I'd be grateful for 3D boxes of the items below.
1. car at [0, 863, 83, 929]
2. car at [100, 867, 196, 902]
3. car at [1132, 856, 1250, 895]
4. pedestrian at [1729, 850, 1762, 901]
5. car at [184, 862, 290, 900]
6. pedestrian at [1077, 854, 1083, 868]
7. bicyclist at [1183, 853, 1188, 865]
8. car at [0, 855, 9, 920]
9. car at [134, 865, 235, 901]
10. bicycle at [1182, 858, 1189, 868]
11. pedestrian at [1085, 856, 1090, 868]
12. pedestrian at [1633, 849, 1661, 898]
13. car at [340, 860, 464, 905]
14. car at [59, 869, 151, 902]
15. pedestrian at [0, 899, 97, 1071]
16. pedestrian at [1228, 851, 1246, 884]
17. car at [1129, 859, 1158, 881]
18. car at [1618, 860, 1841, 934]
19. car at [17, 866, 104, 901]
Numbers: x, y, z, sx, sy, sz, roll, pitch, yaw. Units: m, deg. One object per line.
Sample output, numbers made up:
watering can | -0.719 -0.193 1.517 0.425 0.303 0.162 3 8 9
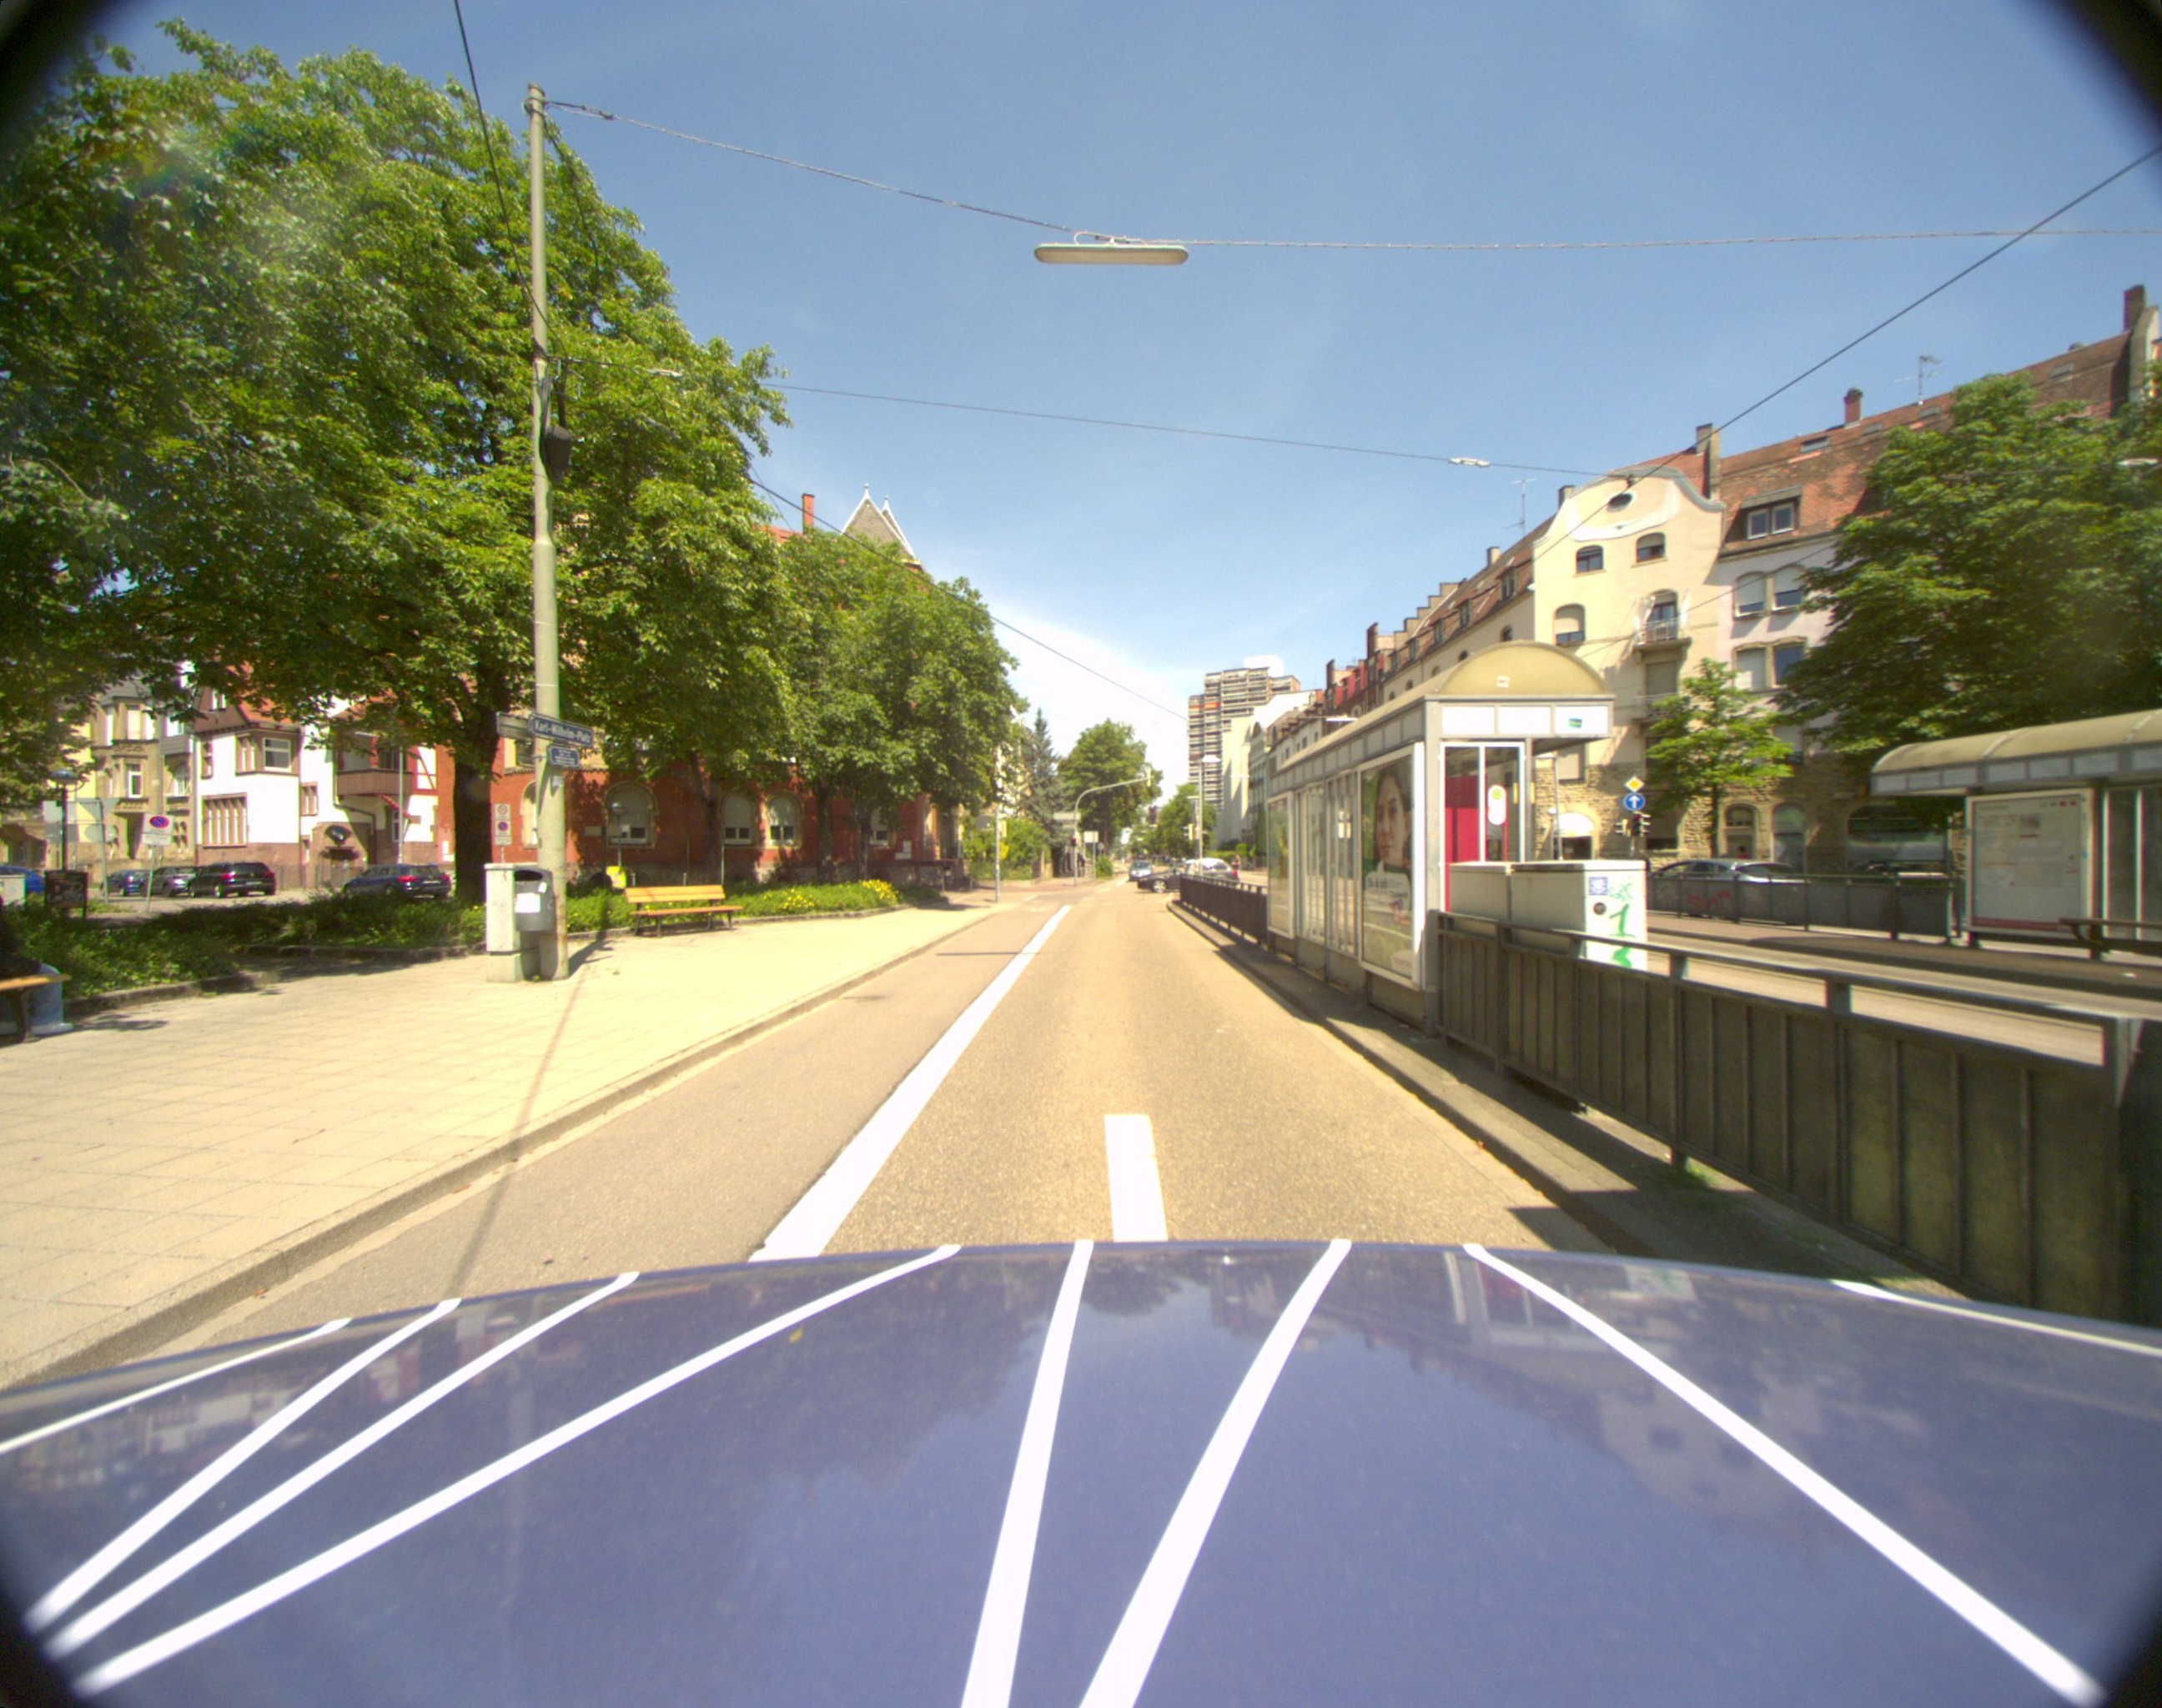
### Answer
car | -32.847 1.304 22.026 1.934 1.869 4.315 -2 1 23
car | -48.427 1.576 39.434 4.299 1.608 1.941 -2 1 23
car | 4.880 0.941 34.272 5.031 1.474 1.938 -2 1 2
pedestrian | 20.326 0.666 23.252 0.594 1.542 0.474 0 0 -1
car | -39.593 1.279 35.666 4.299 1.608 1.941 -2 1 23
pedestrian | -0.068 0.821 88.541 0.702 1.645 0.665 0 0 1
bicyclist | 16.164 0.786 117.866 0.644 1.864 0.716 -2 1 -2
car | -37.664 1.203 23.794 1.934 2.178 4.315 -2 1 23
car | -44.153 1.434 37.412 4.299 1.608 1.941 -2 1 23
bicycle | 16.195 1.340 117.884 0.644 1.503 1.970 -2 1 -2
pedestrian | 0.929 1.127 105.599 0.686 1.732 0.660 -2 1 3
pedestrian | 19.312 0.660 25.917 0.594 1.637 0.474 0 0 5
car | -27.047 1.138 30.286 4.299 1.608 1.941 -2 1 23
car | -53.027 1.731 41.269 4.299 1.608 1.941 -2 1 23
pedestrian | -7.747 0.915 5.417 0.566 1.136 0.725 0 1 -16
pedestrian | 8.501 0.736 41.495 0.838 1.813 0.673 0 0 1
car | 4.437 1.115 53.832 1.895 1.372 4.001 -2 1 5
car | 14.834 0.916 17.726 1.812 1.386 3.999 -2 1 1
car | -59.182 1.713 44.079 4.299 1.862 1.941 -2 1 23
